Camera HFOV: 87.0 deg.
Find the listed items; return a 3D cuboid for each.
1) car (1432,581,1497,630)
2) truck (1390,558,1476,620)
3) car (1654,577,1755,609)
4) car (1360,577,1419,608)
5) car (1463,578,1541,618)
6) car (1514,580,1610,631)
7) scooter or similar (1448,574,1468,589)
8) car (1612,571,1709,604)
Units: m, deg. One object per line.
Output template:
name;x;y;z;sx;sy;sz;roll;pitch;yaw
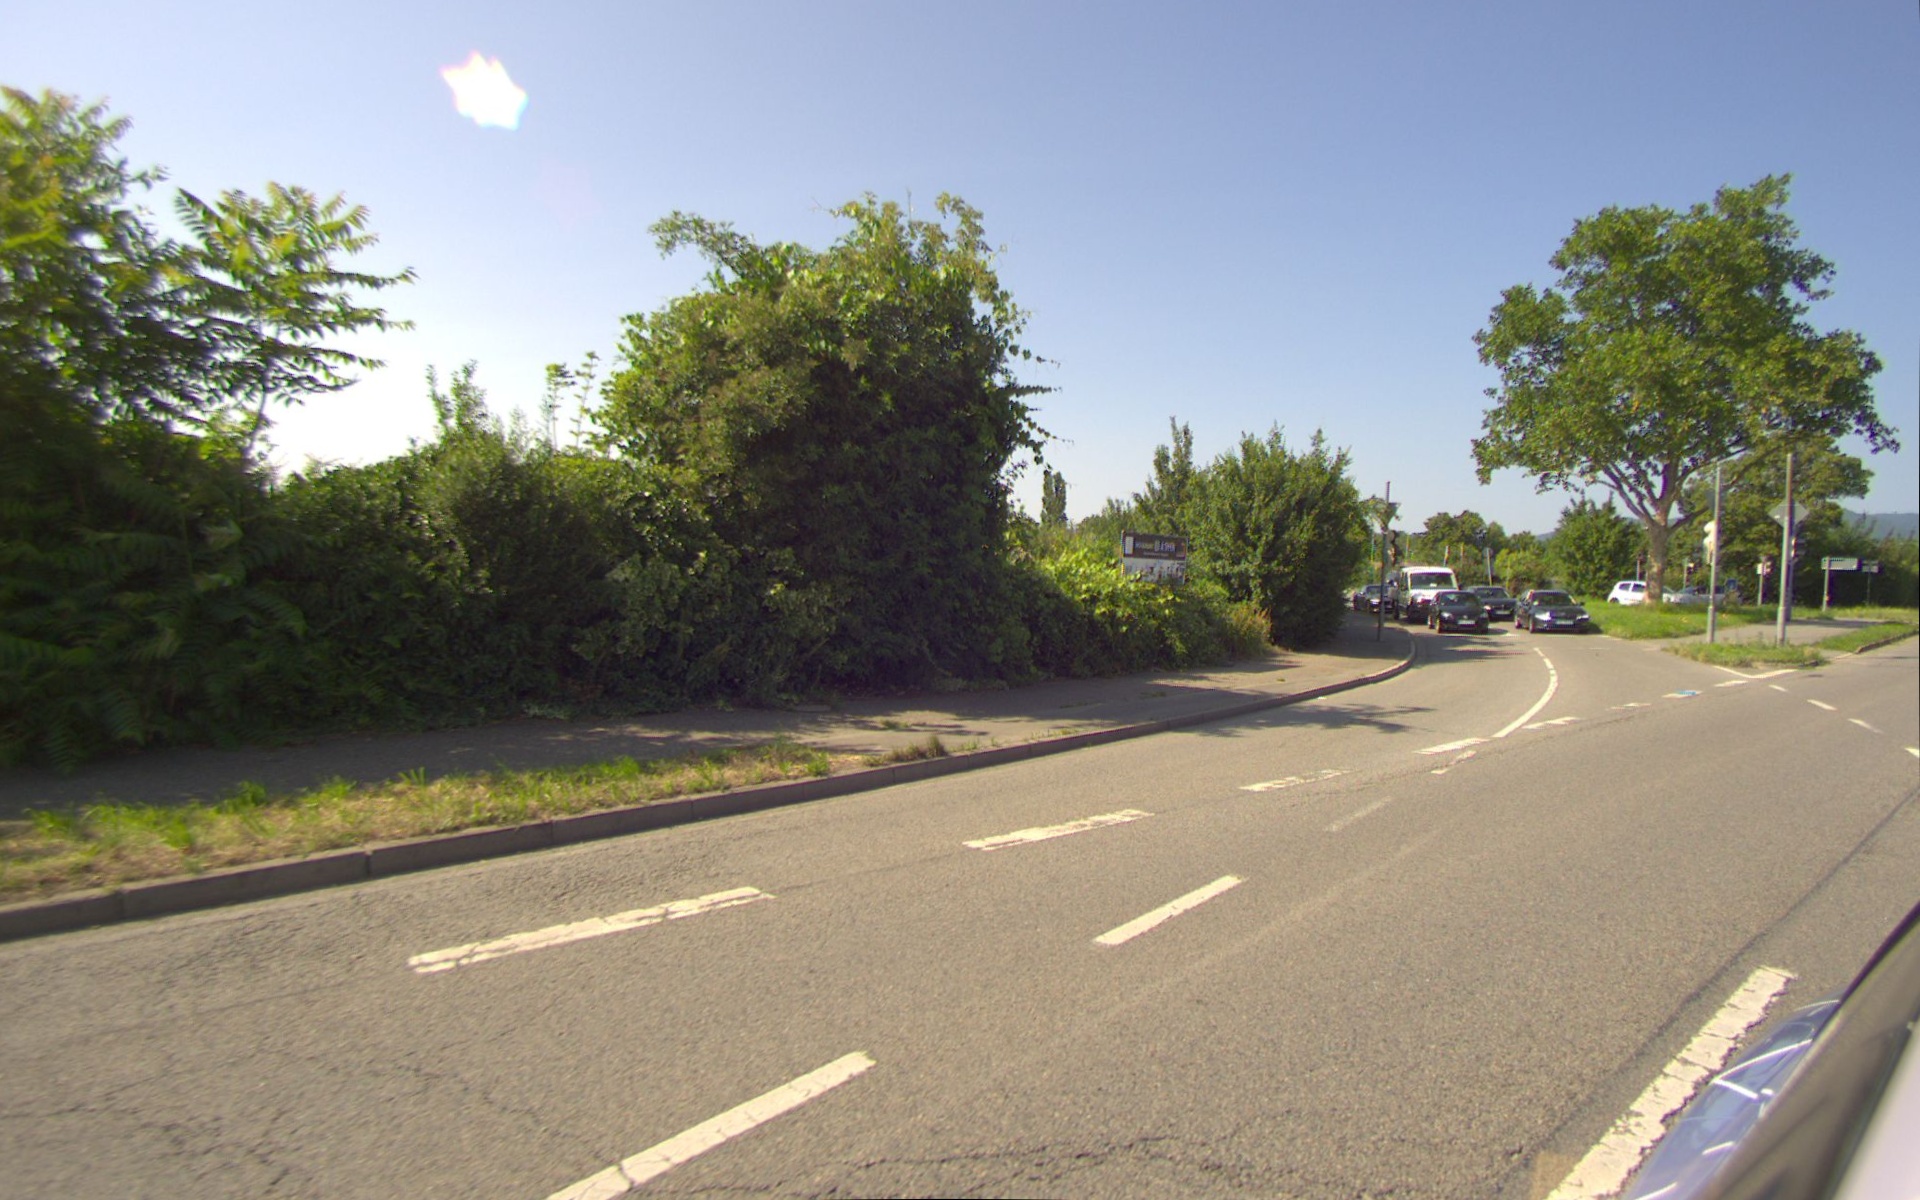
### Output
car;18.030;0.155;36.291;1.600;1.566;3.802;0;2;19
truck;19.924;-0.569;42.939;2.313;2.415;6.444;1;2;16
car;46.437;-0.461;63.216;4.606;1.700;1.904;2;3;9
car;21.565;-0.398;50.943;1.860;1.437;3.989;0;2;10
car;23.103;-0.118;43.325;1.972;1.547;4.448;1;2;15
car;21.275;0.123;35.962;1.975;1.566;4.589;2;2;19
scooter or similar;39.580;-1.477;80.508;1.373;1.131;0.495;2;2;32
car;34.737;-0.671;50.312;1.748;1.487;3.764;1;2;-12
